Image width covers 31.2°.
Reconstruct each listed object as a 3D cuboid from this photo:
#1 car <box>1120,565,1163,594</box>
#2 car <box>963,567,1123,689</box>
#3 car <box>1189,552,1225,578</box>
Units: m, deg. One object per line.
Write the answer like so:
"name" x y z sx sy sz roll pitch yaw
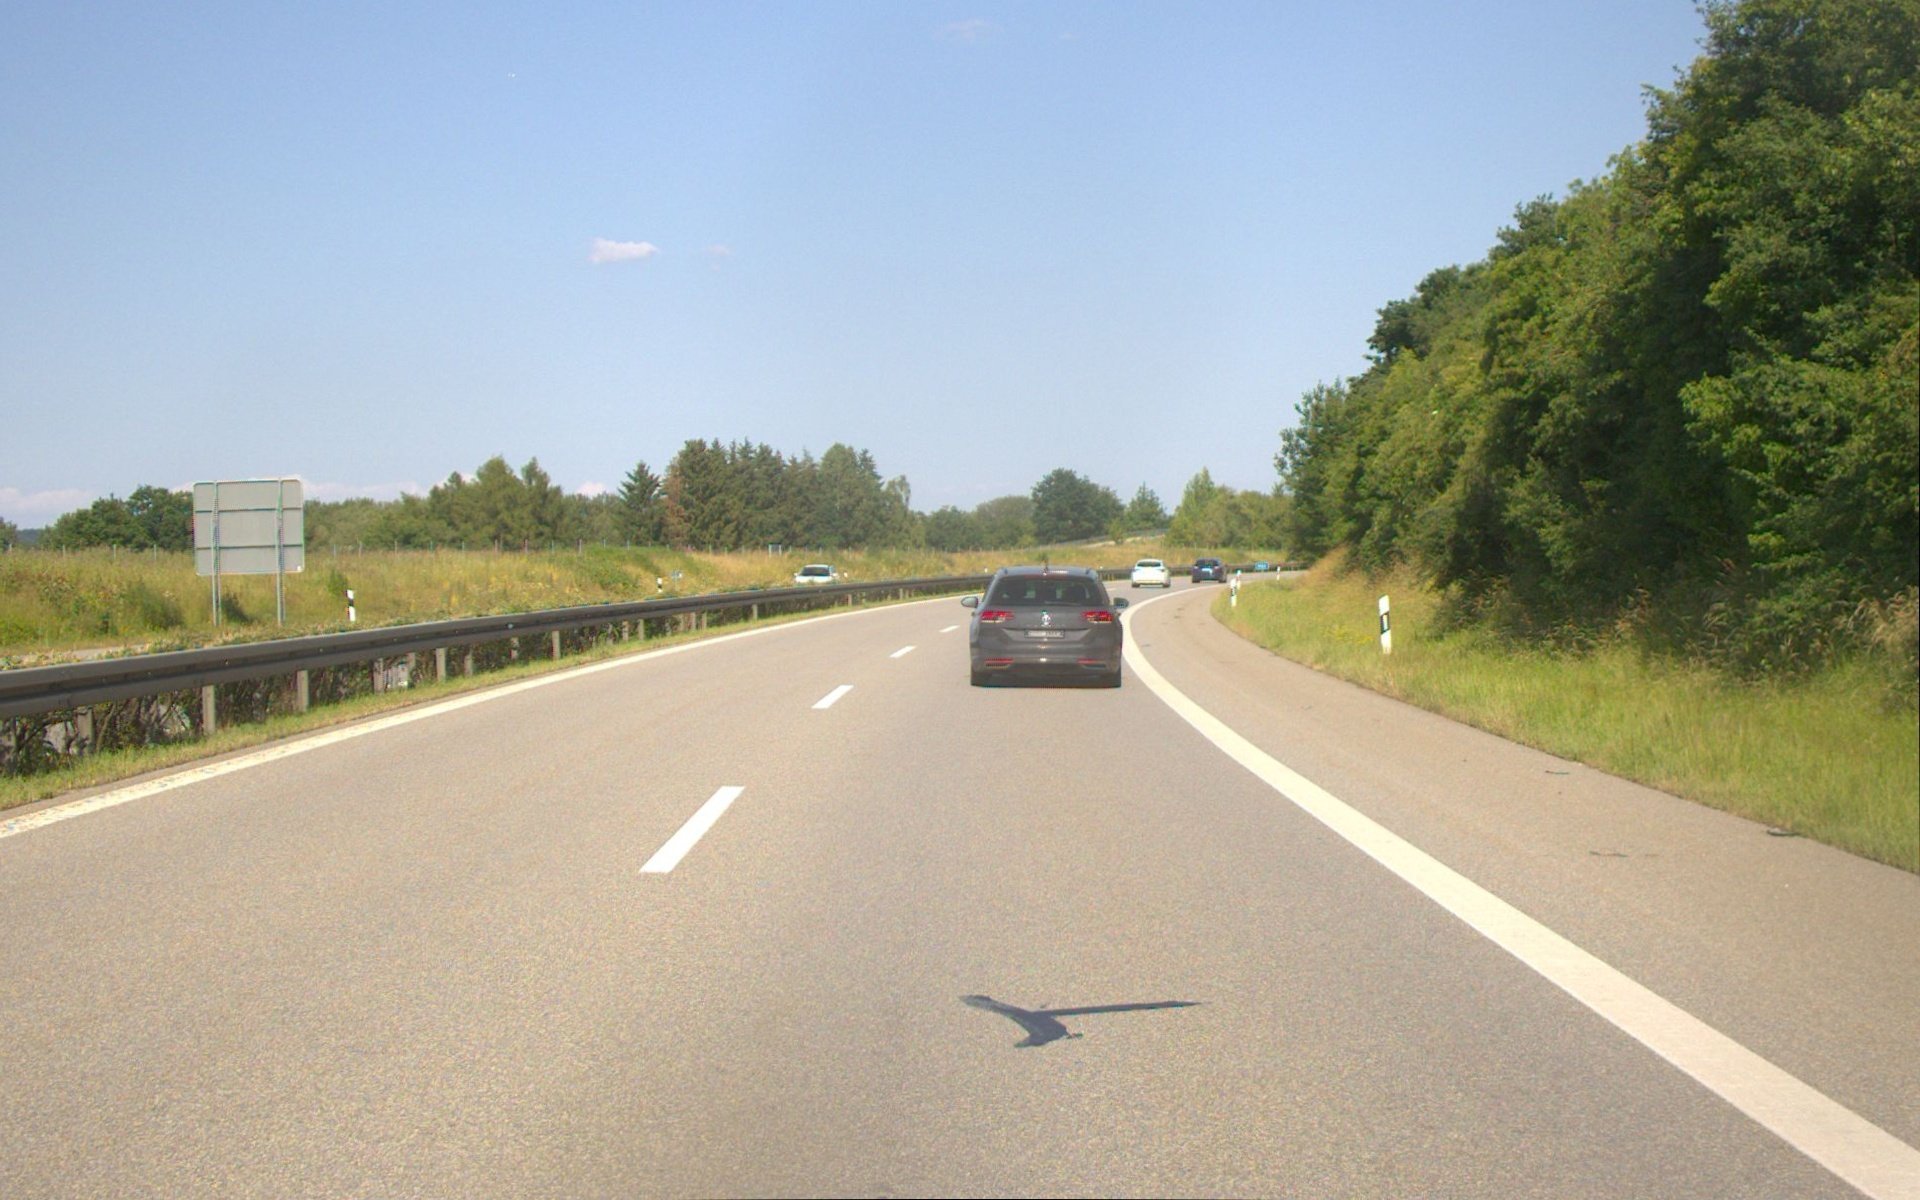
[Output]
"car" 9.057 -1.027 171.541 2.007 1.340 4.000 2 0 2
"car" 0.947 0.306 41.082 1.791 1.340 4.000 1 0 0
"car" 14.526 -2.055 202.092 1.711 1.382 3.353 2 0 10
